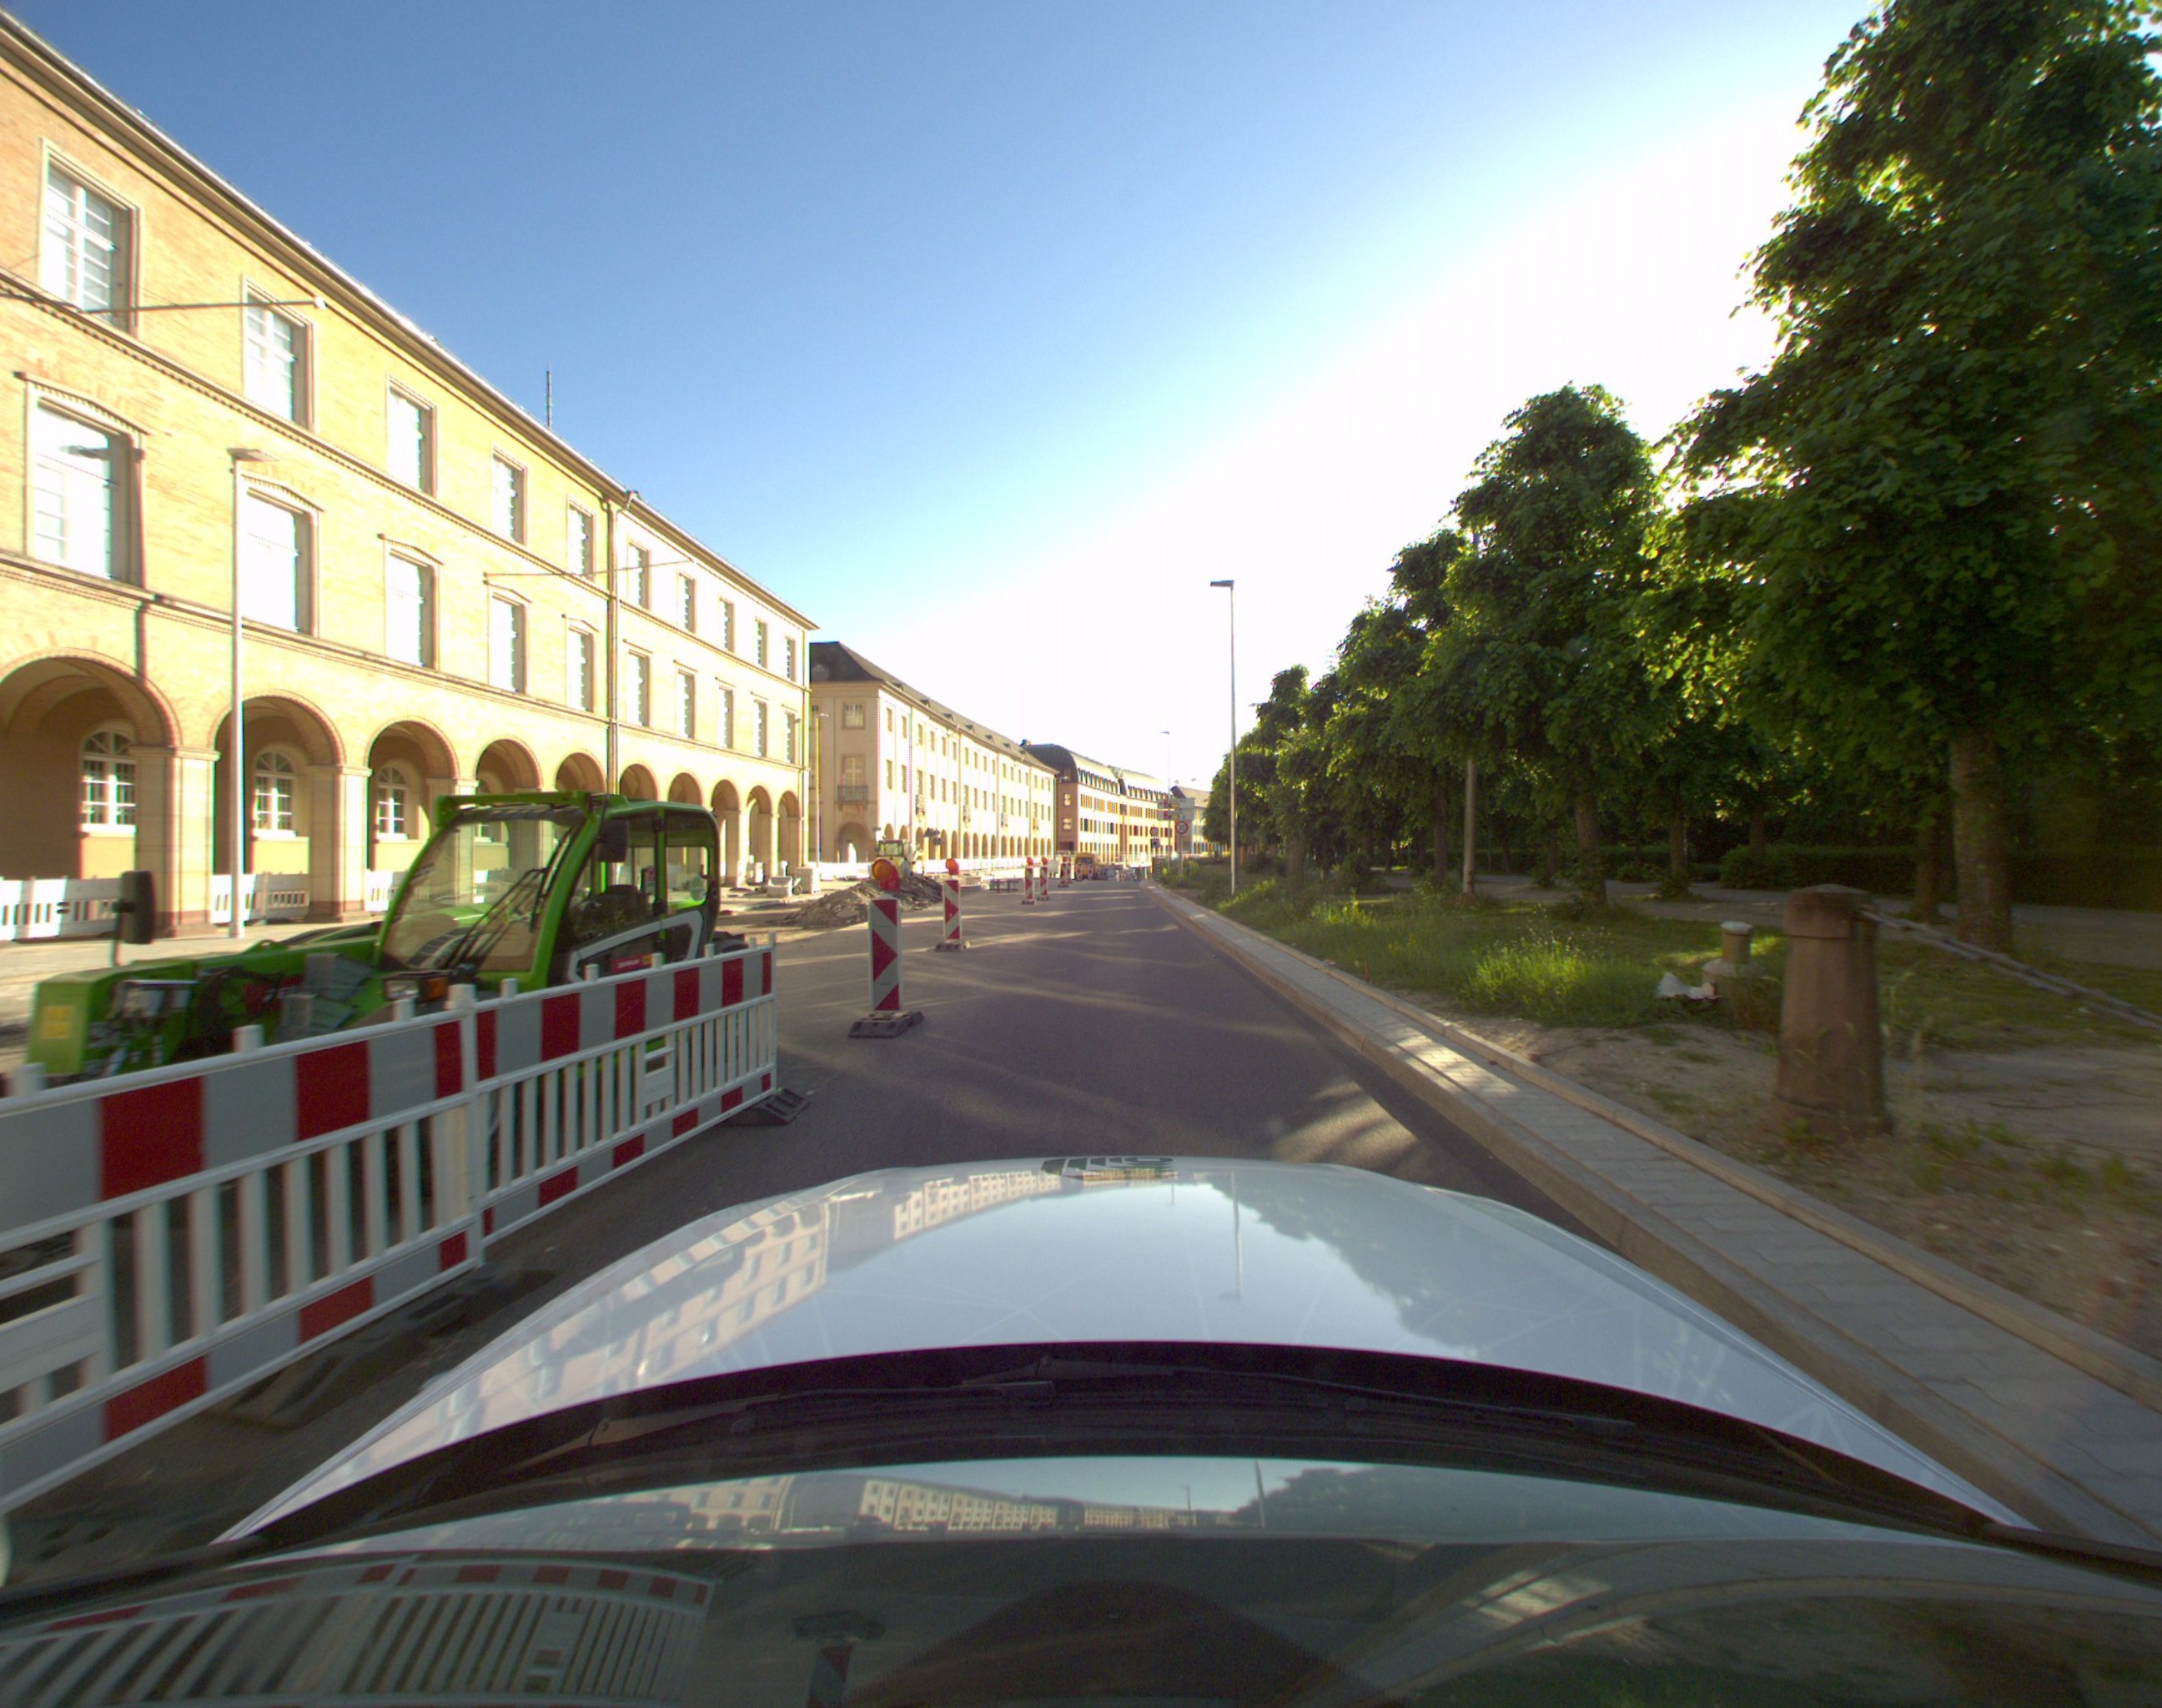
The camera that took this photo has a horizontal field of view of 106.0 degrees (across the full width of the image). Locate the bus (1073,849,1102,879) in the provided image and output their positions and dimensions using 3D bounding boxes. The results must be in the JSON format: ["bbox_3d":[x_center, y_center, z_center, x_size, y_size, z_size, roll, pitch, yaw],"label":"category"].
[{"bbox_3d":[0.687,0.967,75.587,2.061,2.687,4.693,0,-2,8],"label":"bus"}]

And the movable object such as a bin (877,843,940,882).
[{"bbox_3d":[-10.817,0.531,51.434,2.533,2.349,4.468,0,0,7],"label":"movable object such as a bin"}]

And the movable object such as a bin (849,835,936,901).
[{"bbox_3d":[-7.471,0.498,32.837,2.065,2.475,4.623,0,1,5],"label":"movable object such as a bin"}]

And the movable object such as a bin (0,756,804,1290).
[{"bbox_3d":[-3.719,0.580,5.207,2.040,1.949,4.342,0,1,6],"label":"movable object such as a bin"}]
